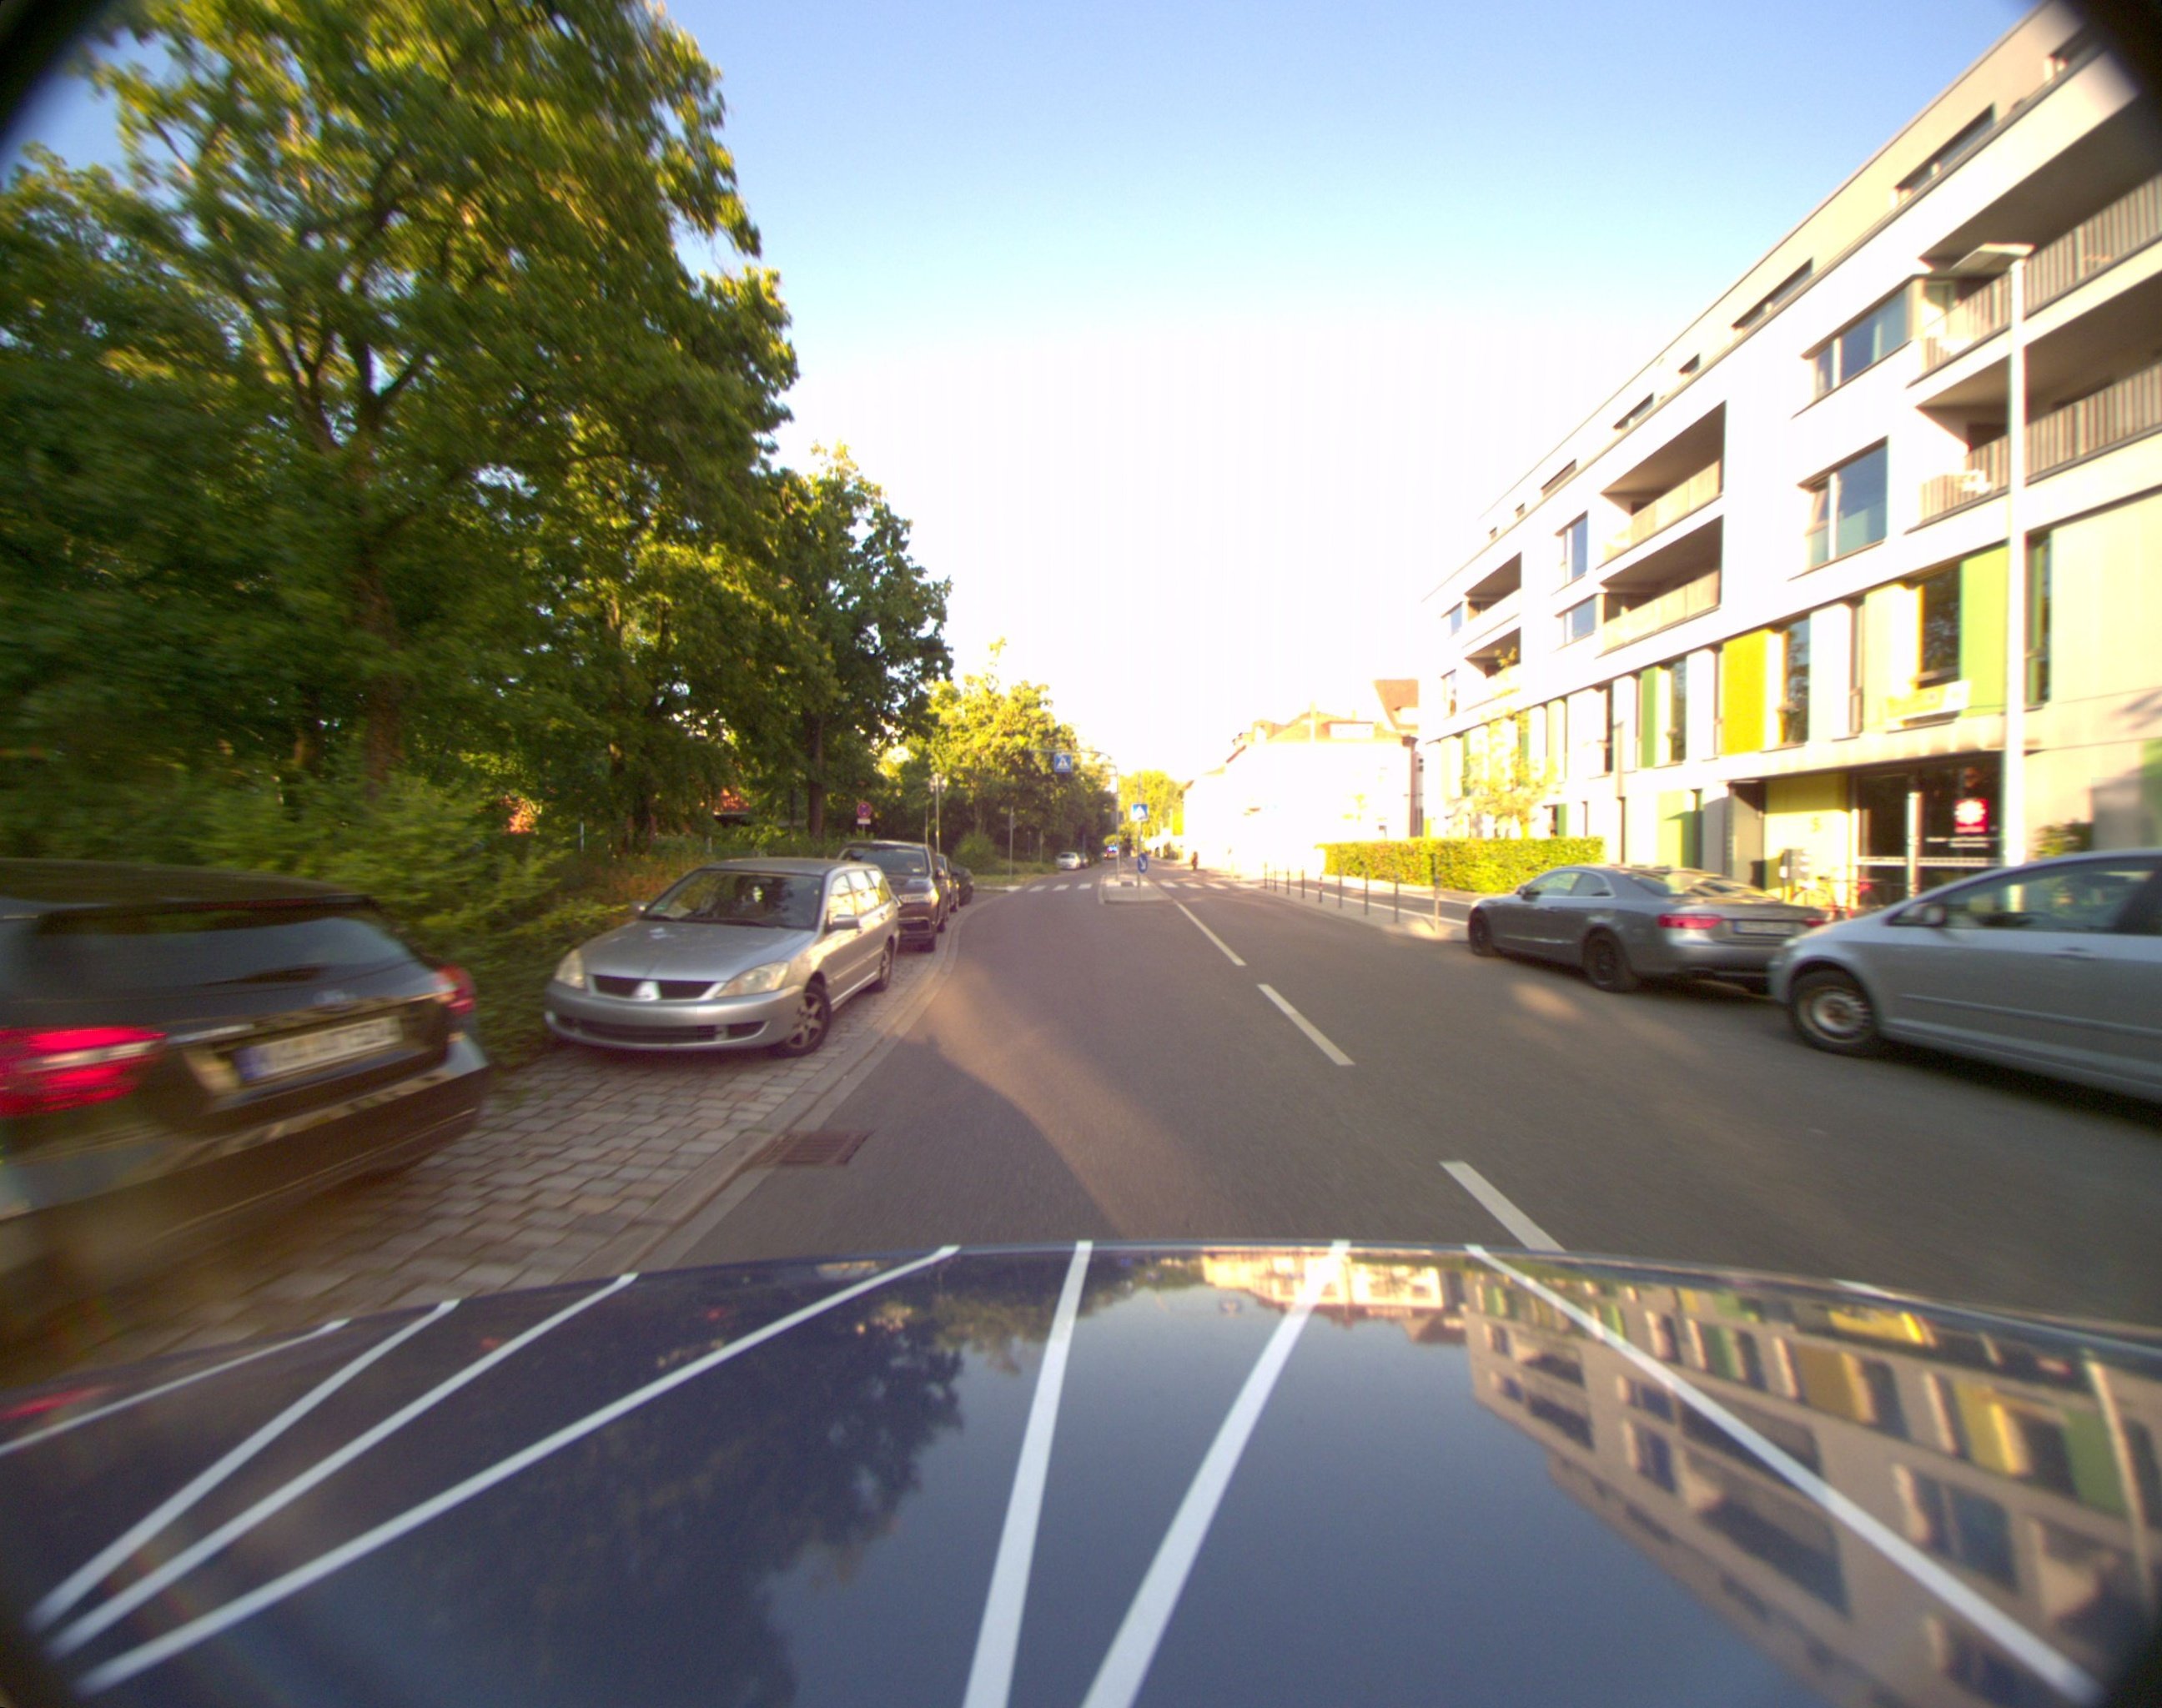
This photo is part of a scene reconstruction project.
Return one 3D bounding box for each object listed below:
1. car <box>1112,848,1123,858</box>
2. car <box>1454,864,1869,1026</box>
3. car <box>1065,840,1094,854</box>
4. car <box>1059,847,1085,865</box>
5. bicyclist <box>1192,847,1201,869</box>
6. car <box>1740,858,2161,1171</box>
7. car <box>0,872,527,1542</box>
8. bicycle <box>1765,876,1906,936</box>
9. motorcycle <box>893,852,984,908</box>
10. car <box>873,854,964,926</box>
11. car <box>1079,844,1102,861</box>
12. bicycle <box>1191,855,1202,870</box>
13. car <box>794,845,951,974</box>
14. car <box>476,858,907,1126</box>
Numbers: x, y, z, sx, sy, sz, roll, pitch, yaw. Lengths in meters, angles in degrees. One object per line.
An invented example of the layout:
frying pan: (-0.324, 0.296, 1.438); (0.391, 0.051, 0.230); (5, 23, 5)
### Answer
car: (7.792, -0.196, 163.294); (2.228, 2.002, 4.891); (-1, 1, 4)
car: (6.360, 0.863, 9.129); (1.746, 1.349, 4.396); (0, 1, 2)
car: (-0.174, -0.753, 84.494); (3.119, 1.520, 1.621); (-1, 1, -5)
car: (-0.726, 0.142, 63.718); (1.751, 1.478, 4.177); (1, 1, 6)
bicyclist: (8.714, 0.264, 57.368); (0.628, 1.635, 0.757); (0, 1, 2)
car: (6.275, 0.813, 4.180); (1.746, 1.525, 4.115); (0, 1, 0)
car: (-4.487, 0.855, 2.561); (3.958, 1.503, 1.739); (0, 1, 2)
bicycle: (12.714, 0.867, 12.827); (1.755, 0.913, 0.617); (-2, 1, 1)
motorcycle: (-3.986, 0.716, 21.424); (2.296, 1.536, 1.040); (0, 1, 6)
car: (-3.726, 0.760, 17.922); (1.624, 1.478, 3.417); (0, 1, -5)
car: (0.914, -0.179, 70.427); (1.751, 1.478, 4.510); (-1, 1, 5)
bicycle: (8.720, 0.651, 57.397); (0.635, 1.072, 1.883); (0, 1, 2)
car: (-3.283, 0.740, 12.898); (1.928, 1.738, 4.662); (0, 1, -8)
car: (-2.858, 0.850, 6.782); (1.655, 1.558, 4.300); (-1, 1, -1)
